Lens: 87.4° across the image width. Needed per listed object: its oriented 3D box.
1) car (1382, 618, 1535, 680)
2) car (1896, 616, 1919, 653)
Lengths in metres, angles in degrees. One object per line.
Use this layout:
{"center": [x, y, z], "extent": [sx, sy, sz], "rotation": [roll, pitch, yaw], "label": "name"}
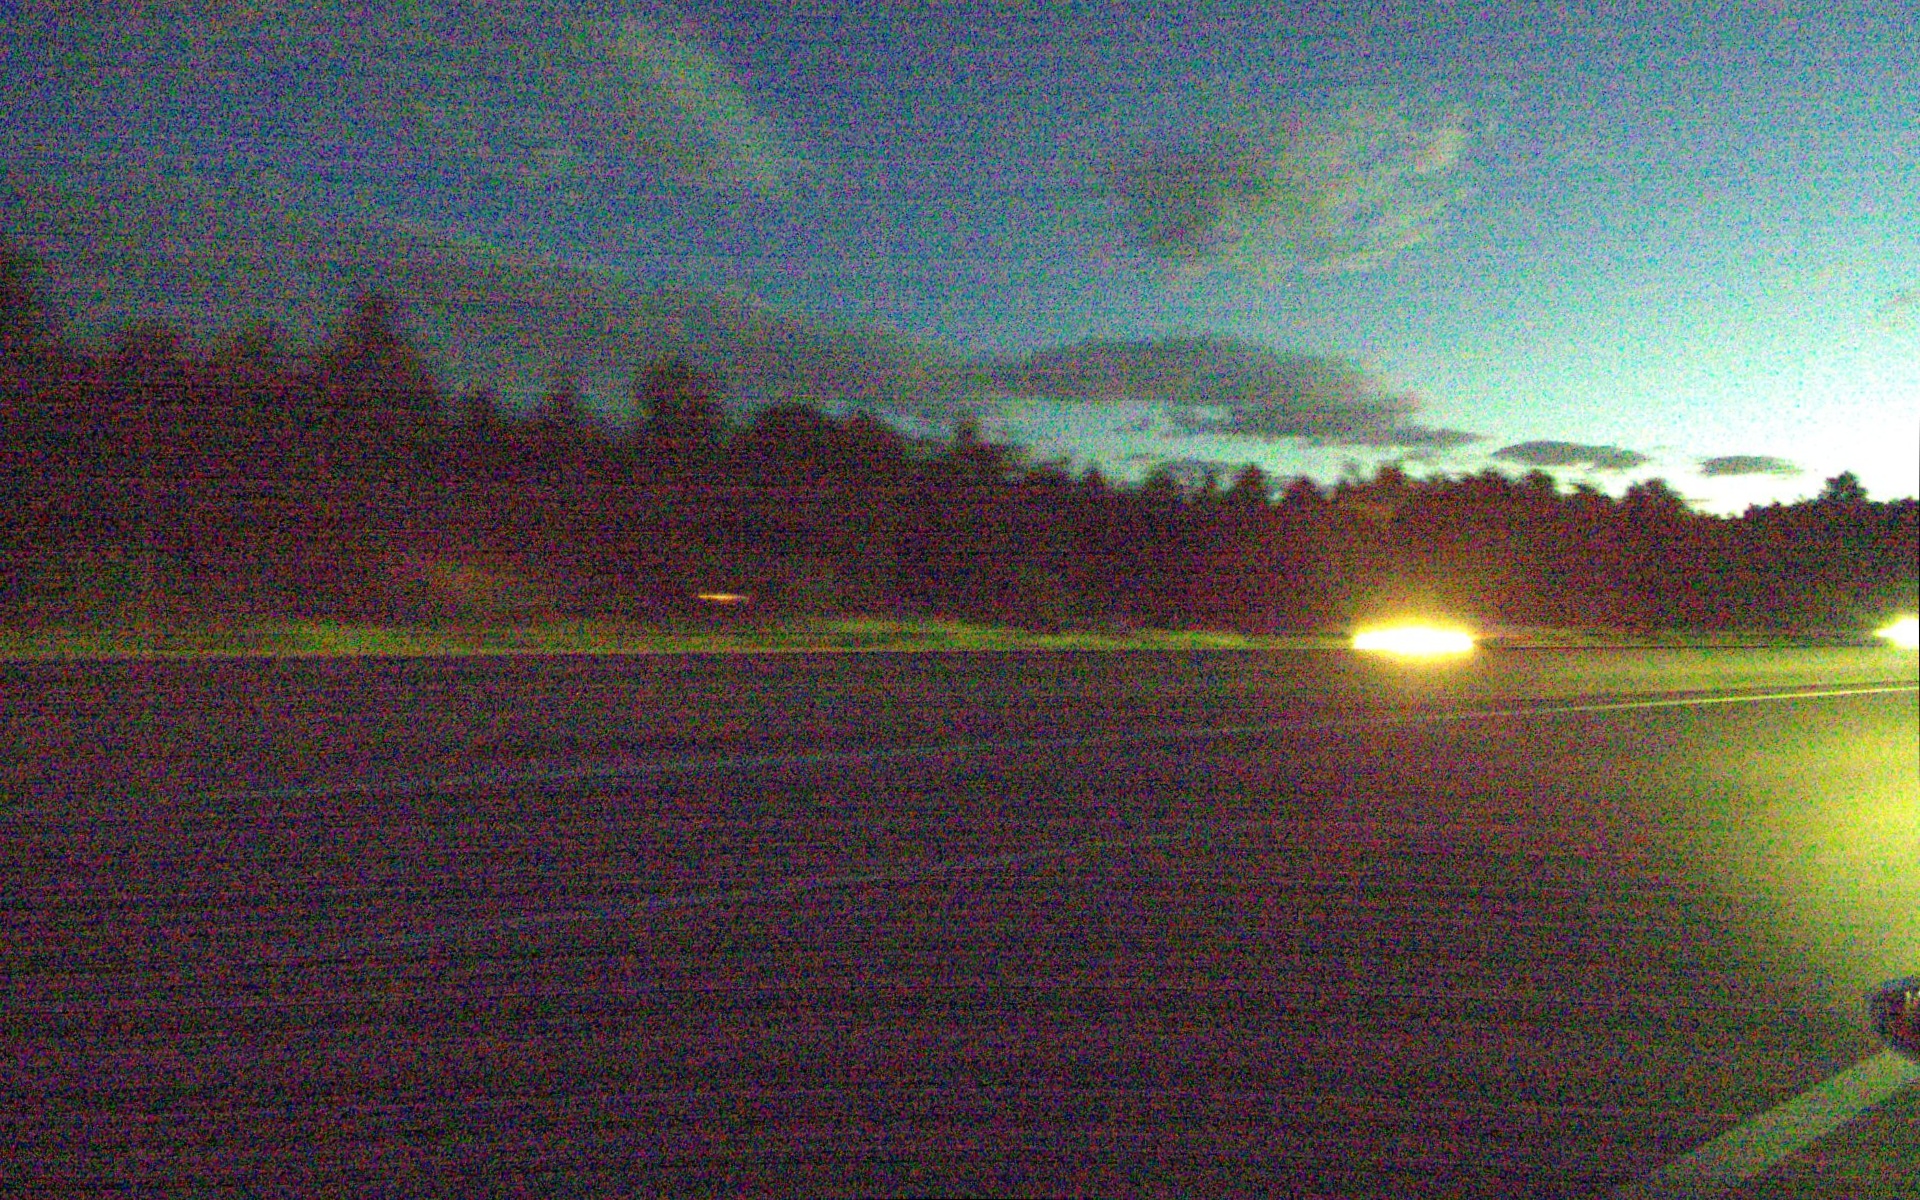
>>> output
{"center": [14.372, 1.398, 28.930], "extent": [4.164, 1.623, 1.984], "rotation": [2, 0, -30], "label": "car"}
{"center": [55.923, 2.027, 57.429], "extent": [5.125, 2.040, 2.017], "rotation": [2, 0, -29], "label": "car"}
